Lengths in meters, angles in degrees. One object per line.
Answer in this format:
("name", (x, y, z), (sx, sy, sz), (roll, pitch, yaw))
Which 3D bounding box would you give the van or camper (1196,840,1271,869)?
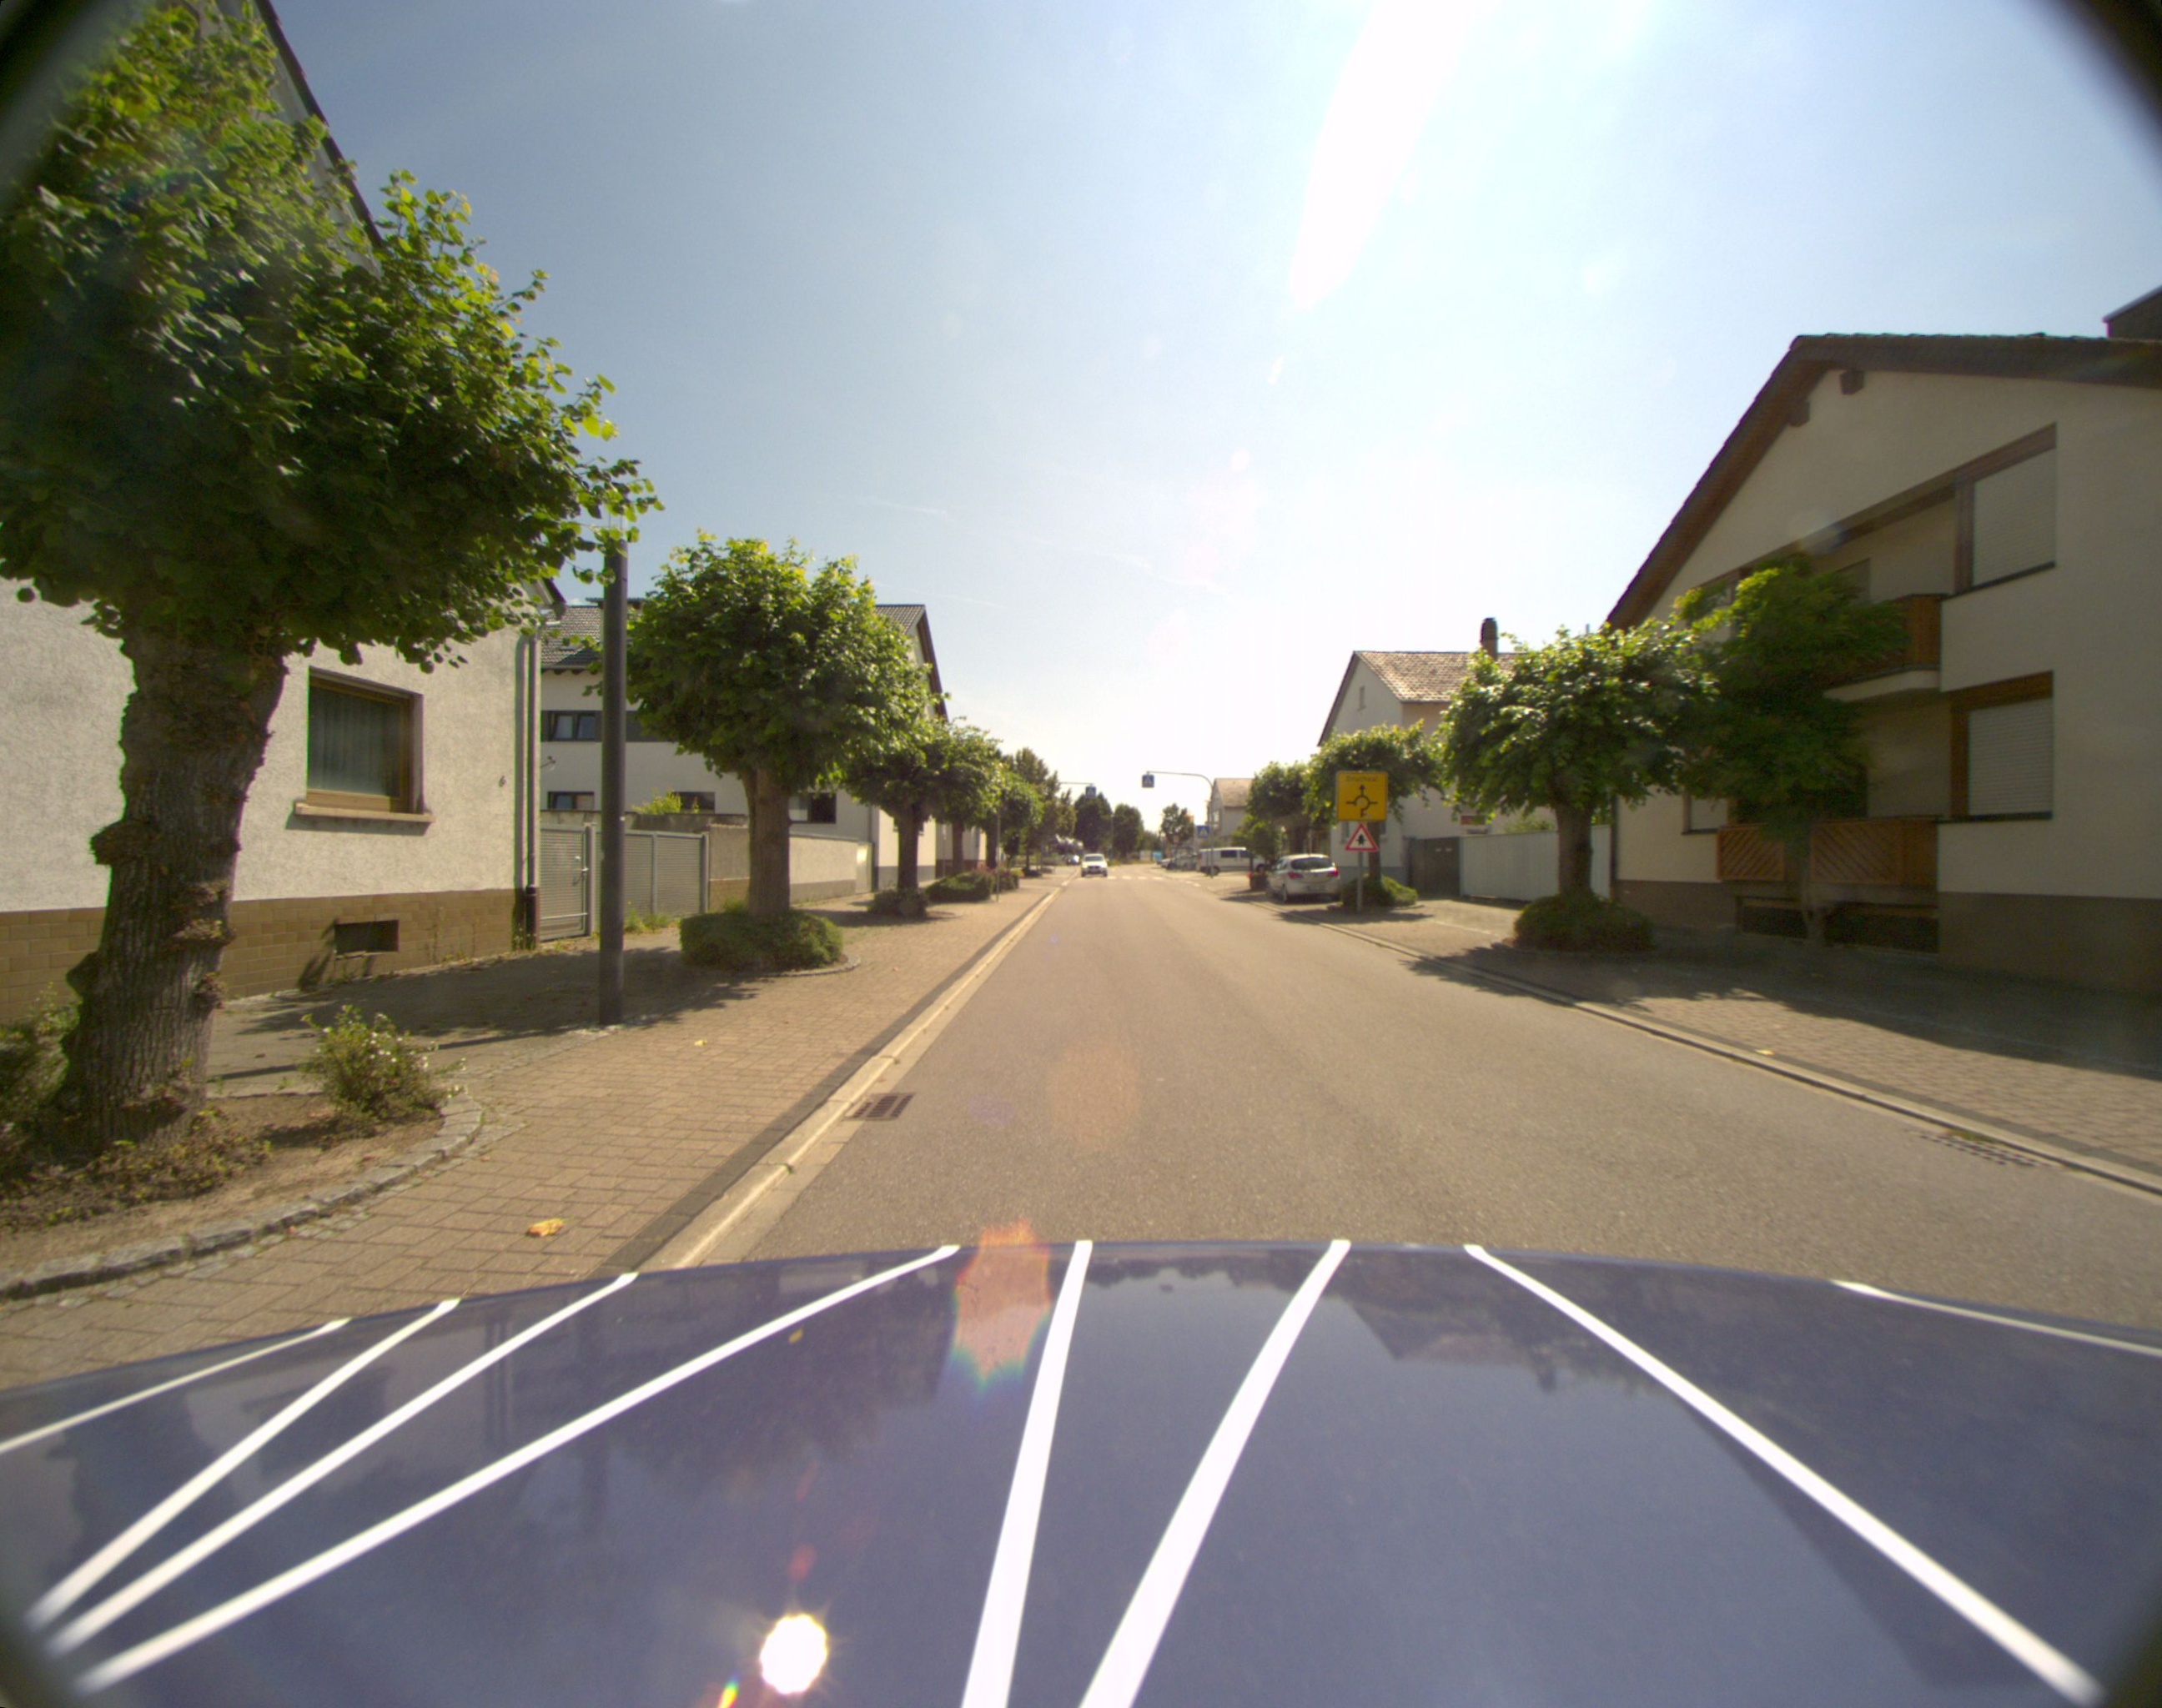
("van or camper", (10.498, 0.060, 52.574), (4.752, 1.851, 2.000), (-1, 0, 0))

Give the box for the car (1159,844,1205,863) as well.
("car", (10.209, -0.041, 76.874), (4.251, 1.709, 1.944), (-2, 1, -4))

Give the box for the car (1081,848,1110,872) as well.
("car", (1.030, 0.387, 52.642), (1.857, 1.603, 4.135), (-2, 0, 3))

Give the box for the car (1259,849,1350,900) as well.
("car", (7.196, 0.592, 24.904), (1.829, 1.474, 4.132), (-2, 1, 1))

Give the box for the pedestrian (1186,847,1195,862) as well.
("pedestrian", (10.036, 0.076, 69.676), (0.787, 1.350, 0.607), (0, 1, 1))

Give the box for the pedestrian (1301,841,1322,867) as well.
("pedestrian", (16.020, 0.007, 52.743), (1.072, 1.765, 0.931), (0, 1, -36))
